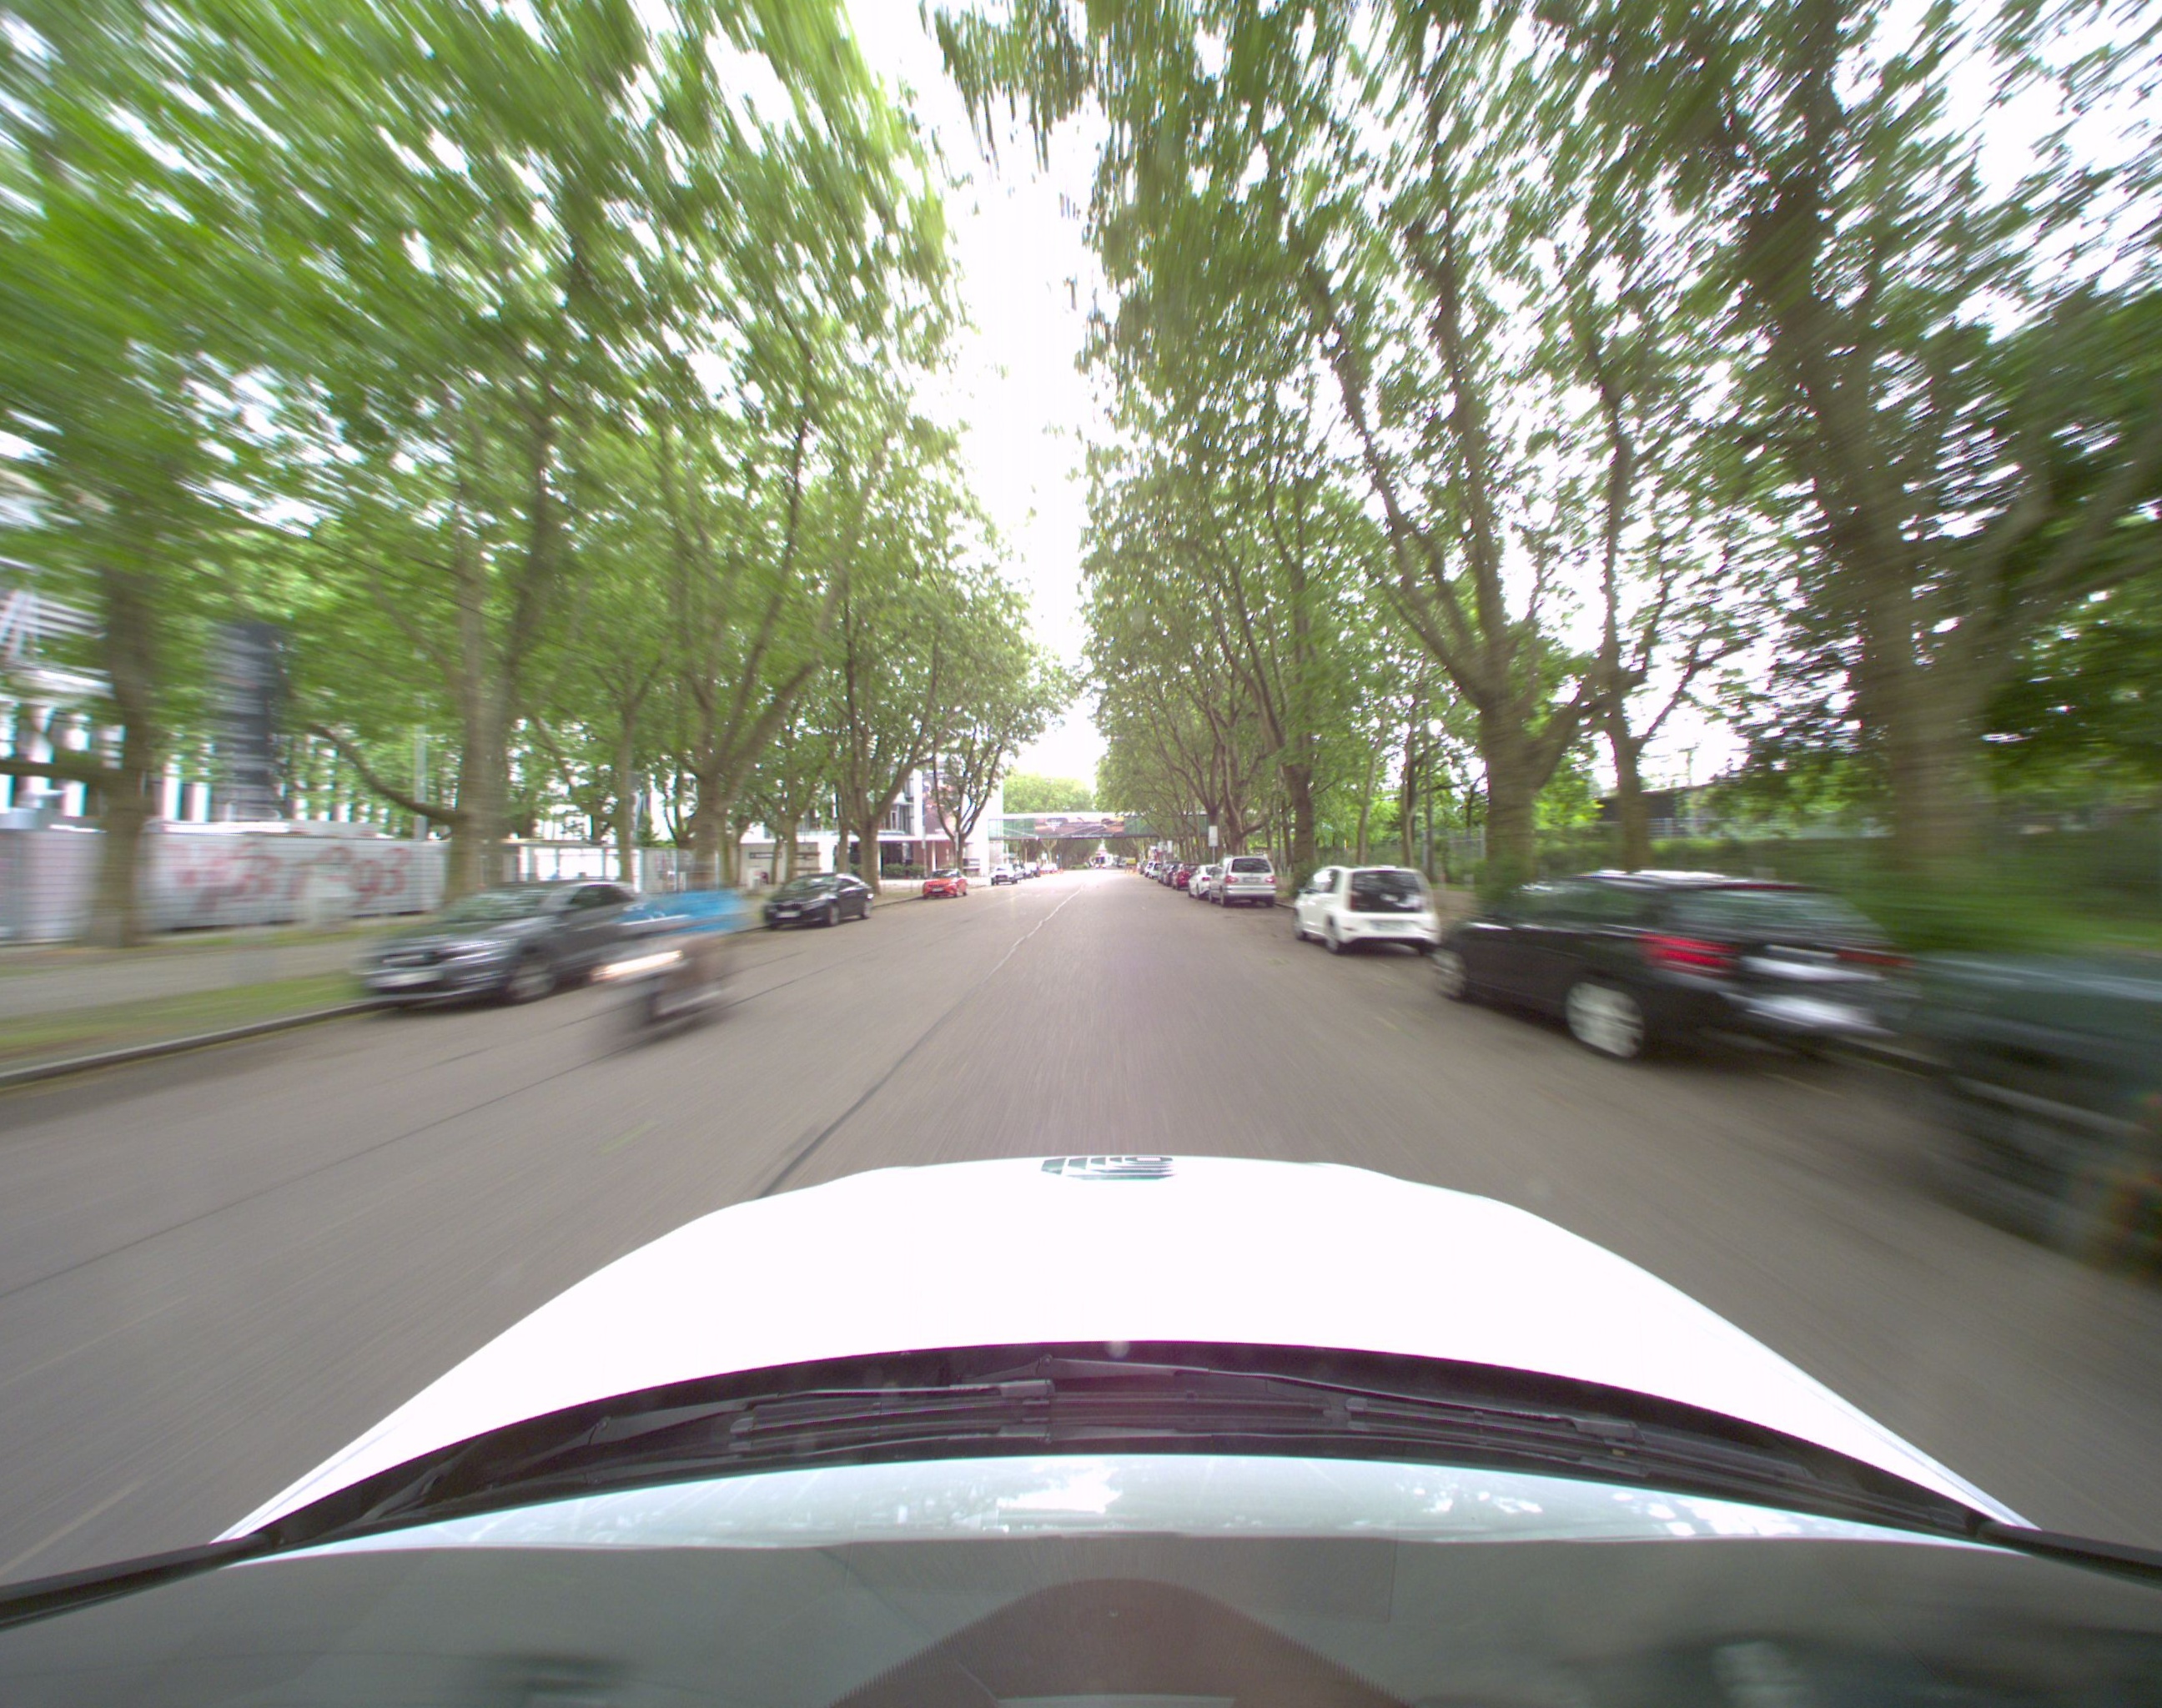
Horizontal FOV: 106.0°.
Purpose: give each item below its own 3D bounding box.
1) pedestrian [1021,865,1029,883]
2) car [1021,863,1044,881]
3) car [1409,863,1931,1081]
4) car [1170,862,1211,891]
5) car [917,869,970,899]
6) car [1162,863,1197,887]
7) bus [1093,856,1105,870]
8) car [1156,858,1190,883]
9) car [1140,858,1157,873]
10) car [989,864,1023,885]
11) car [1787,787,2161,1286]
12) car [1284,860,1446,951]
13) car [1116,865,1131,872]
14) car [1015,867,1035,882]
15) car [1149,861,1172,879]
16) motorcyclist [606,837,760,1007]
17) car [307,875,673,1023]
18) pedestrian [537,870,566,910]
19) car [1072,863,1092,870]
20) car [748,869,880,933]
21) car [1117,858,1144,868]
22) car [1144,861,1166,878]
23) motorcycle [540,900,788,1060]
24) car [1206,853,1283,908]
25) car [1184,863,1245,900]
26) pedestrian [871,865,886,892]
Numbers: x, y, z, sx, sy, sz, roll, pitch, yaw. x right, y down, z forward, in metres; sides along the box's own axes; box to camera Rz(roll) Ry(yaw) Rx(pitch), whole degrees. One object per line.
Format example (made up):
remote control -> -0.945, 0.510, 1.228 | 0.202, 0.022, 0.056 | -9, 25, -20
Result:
pedestrian -> -4.573, 1.591, 66.089 | 0.581, 1.466, 0.568 | 0, -1, 5
car -> -5.554, 2.038, 93.420 | 2.027, 1.789, 4.910 | -4, -1, 2
car -> 4.796, 0.808, 7.594 | 1.702, 1.415, 4.360 | 0, -1, 0
car -> 6.025, 1.208, 45.229 | 1.850, 1.481, 4.178 | -1, -1, 1
car -> -6.804, 1.448, 40.648 | 1.801, 1.354, 4.002 | -1, -1, 2
car -> 6.200, 1.311, 51.901 | 1.869, 1.427, 4.482 | -1, -1, 2
bus -> 4.725, 2.397, 212.739 | 3.028, 3.160, 12.678 | -3, -1, 1
car -> 6.576, 1.207, 58.799 | 1.974, 1.680, 4.732 | -1, -1, 1
car -> 8.042, 1.375, 97.833 | 1.840, 1.783, 5.213 | 0, -1, 2
car -> -5.945, 1.616, 65.137 | 2.065, 1.563, 4.758 | -1, -1, 2
car -> 4.525, 0.617, 1.949 | 1.702, 1.698, 4.630 | 0, -1, 0
car -> 4.939, 0.827, 14.720 | 1.701, 1.427, 3.890 | 0, -1, 2
car -> 11.173, 3.936, 215.453 | 3.973, 1.794, 1.543 | -1, -1, 1
car -> -6.026, 2.196, 88.134 | 1.698, 1.419, 4.327 | -4, -1, 2
car -> 7.148, 1.464, 73.436 | 1.800, 1.526, 4.097 | -1, -1, 2
motorcyclist -> -3.769, 0.608, 7.833 | 0.868, 1.480, 1.264 | -1, -1, -2
car -> -7.711, 1.129, 11.255 | 1.871, 1.527, 4.153 | -2, -1, 2
pedestrian -> -20.711, 1.398, 31.862 | 0.665, 1.544, 0.660 | -1, -1, 2
car -> 0.288, 3.054, 198.246 | 4.681, 1.585, 1.865 | -1, -1, 2
car -> -7.231, 1.219, 22.627 | 1.819, 1.466, 4.632 | -2, -1, 4
car -> 12.568, 2.320, 207.994 | 6.802, 2.513, 2.316 | -1, -1, -1
car -> 7.354, 1.548, 81.381 | 1.907, 1.618, 4.751 | -1, -1, 2
motorcycle -> -3.772, 1.057, 7.825 | 0.871, 1.079, 3.050 | -1, -1, -2
car -> 5.623, 0.876, 28.538 | 1.895, 1.739, 4.508 | -1, -1, 2
car -> 5.499, 1.092, 33.989 | 1.870, 1.427, 4.586 | -1, -1, 1
pedestrian -> -12.147, 1.477, 48.779 | 0.588, 1.620, 0.794 | -1, -1, 11
